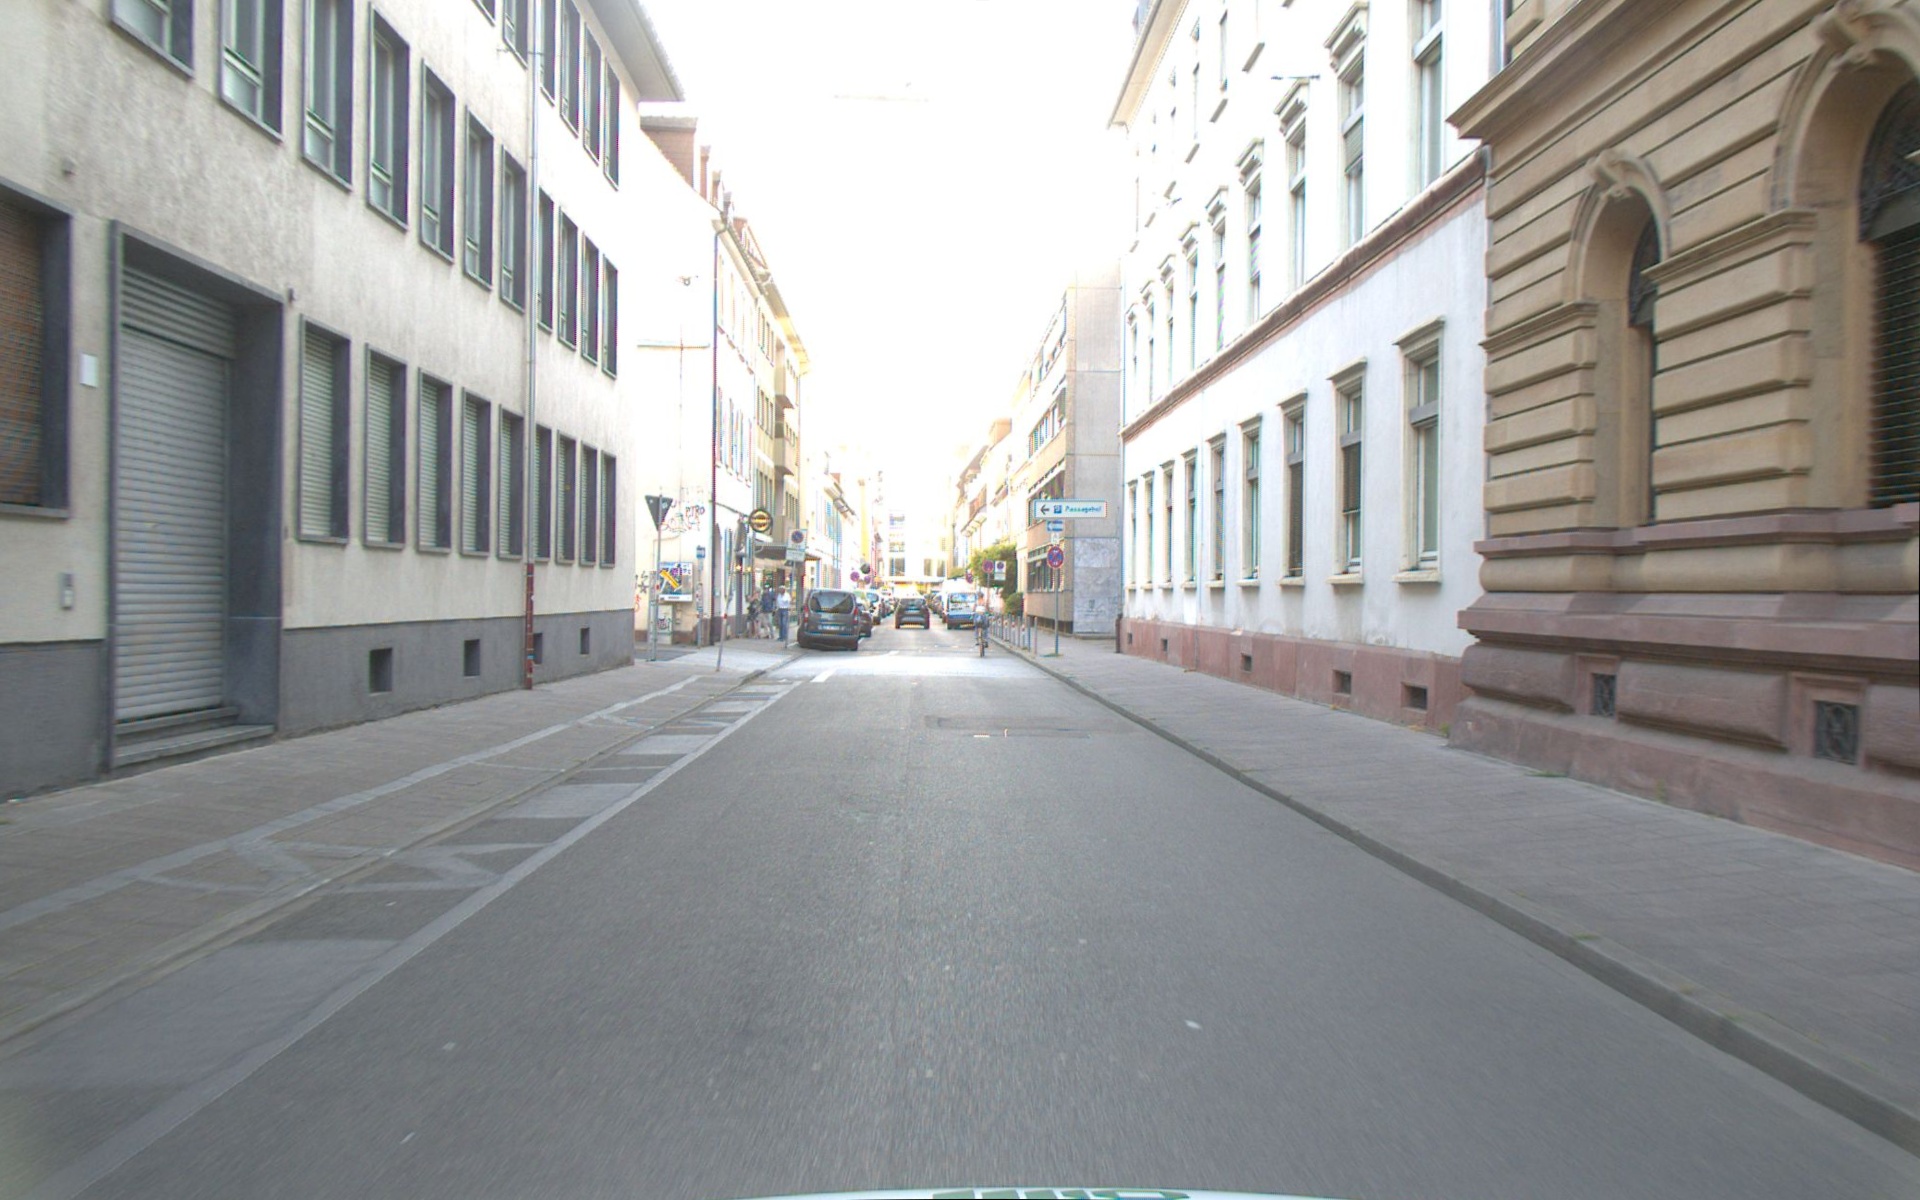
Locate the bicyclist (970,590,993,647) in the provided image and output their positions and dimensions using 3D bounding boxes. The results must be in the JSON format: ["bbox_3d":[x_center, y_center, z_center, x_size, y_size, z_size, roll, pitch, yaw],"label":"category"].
[{"bbox_3d":[0.616,0.513,46.739,0.608,1.602,0.683,1,-1,-1],"label":"bicyclist"}]

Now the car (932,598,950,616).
[{"bbox_3d":[-1.797,0.654,155.200,1.620,1.588,3.604,2,0,-1],"label":"car"}]

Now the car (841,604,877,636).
[{"bbox_3d":[-5.080,1.008,83.617,1.629,1.474,3.519,4,0,-2],"label":"car"}]

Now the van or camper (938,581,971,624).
[{"bbox_3d":[-0.395,0.157,105.281,2.008,2.684,7.061,0,0,-1],"label":"van or camper"}]

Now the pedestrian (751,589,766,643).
[{"bbox_3d":[-6.629,0.524,54.376,0.398,1.780,0.470,1,-1,0],"label":"pedestrian"}]

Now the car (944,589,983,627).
[{"bbox_3d":[0.172,0.401,85.354,1.897,1.931,5.275,0,0,-1],"label":"car"}]

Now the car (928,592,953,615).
[{"bbox_3d":[-1.441,0.280,124.747,1.782,1.556,5.070,-3,0,0],"label":"car"}]

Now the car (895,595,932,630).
[{"bbox_3d":[-2.341,0.626,82.980,1.783,1.646,3.998,2,0,-2],"label":"car"}]

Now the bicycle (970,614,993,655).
[{"bbox_3d":[0.607,0.965,46.813,0.601,1.101,1.809,1,0,-1],"label":"bicycle"}]

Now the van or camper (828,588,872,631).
[{"bbox_3d":[-4.903,0.434,74.231,1.736,1.880,4.177,0,0,-1],"label":"van or camper"}]

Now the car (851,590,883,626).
[{"bbox_3d":[-5.407,0.443,96.350,1.825,2.049,5.103,0,0,-3],"label":"car"}]

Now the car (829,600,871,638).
[{"bbox_3d":[-4.362,0.749,66.194,1.592,1.440,3.978,1,0,-3],"label":"car"}]

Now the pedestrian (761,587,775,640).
[{"bbox_3d":[-6.429,0.449,55.419,0.398,1.780,0.470,1,-1,0],"label":"pedestrian"}]

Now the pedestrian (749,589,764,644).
[{"bbox_3d":[-6.634,0.522,53.873,0.398,1.780,0.470,1,-1,0],"label":"pedestrian"}]

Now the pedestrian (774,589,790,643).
[{"bbox_3d":[-5.926,0.539,54.976,0.440,1.780,0.470,1,-1,0],"label":"pedestrian"}]

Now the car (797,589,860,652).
[{"bbox_3d":[-4.081,0.604,51.384,1.840,1.843,4.446,1,0,-5],"label":"car"}]
